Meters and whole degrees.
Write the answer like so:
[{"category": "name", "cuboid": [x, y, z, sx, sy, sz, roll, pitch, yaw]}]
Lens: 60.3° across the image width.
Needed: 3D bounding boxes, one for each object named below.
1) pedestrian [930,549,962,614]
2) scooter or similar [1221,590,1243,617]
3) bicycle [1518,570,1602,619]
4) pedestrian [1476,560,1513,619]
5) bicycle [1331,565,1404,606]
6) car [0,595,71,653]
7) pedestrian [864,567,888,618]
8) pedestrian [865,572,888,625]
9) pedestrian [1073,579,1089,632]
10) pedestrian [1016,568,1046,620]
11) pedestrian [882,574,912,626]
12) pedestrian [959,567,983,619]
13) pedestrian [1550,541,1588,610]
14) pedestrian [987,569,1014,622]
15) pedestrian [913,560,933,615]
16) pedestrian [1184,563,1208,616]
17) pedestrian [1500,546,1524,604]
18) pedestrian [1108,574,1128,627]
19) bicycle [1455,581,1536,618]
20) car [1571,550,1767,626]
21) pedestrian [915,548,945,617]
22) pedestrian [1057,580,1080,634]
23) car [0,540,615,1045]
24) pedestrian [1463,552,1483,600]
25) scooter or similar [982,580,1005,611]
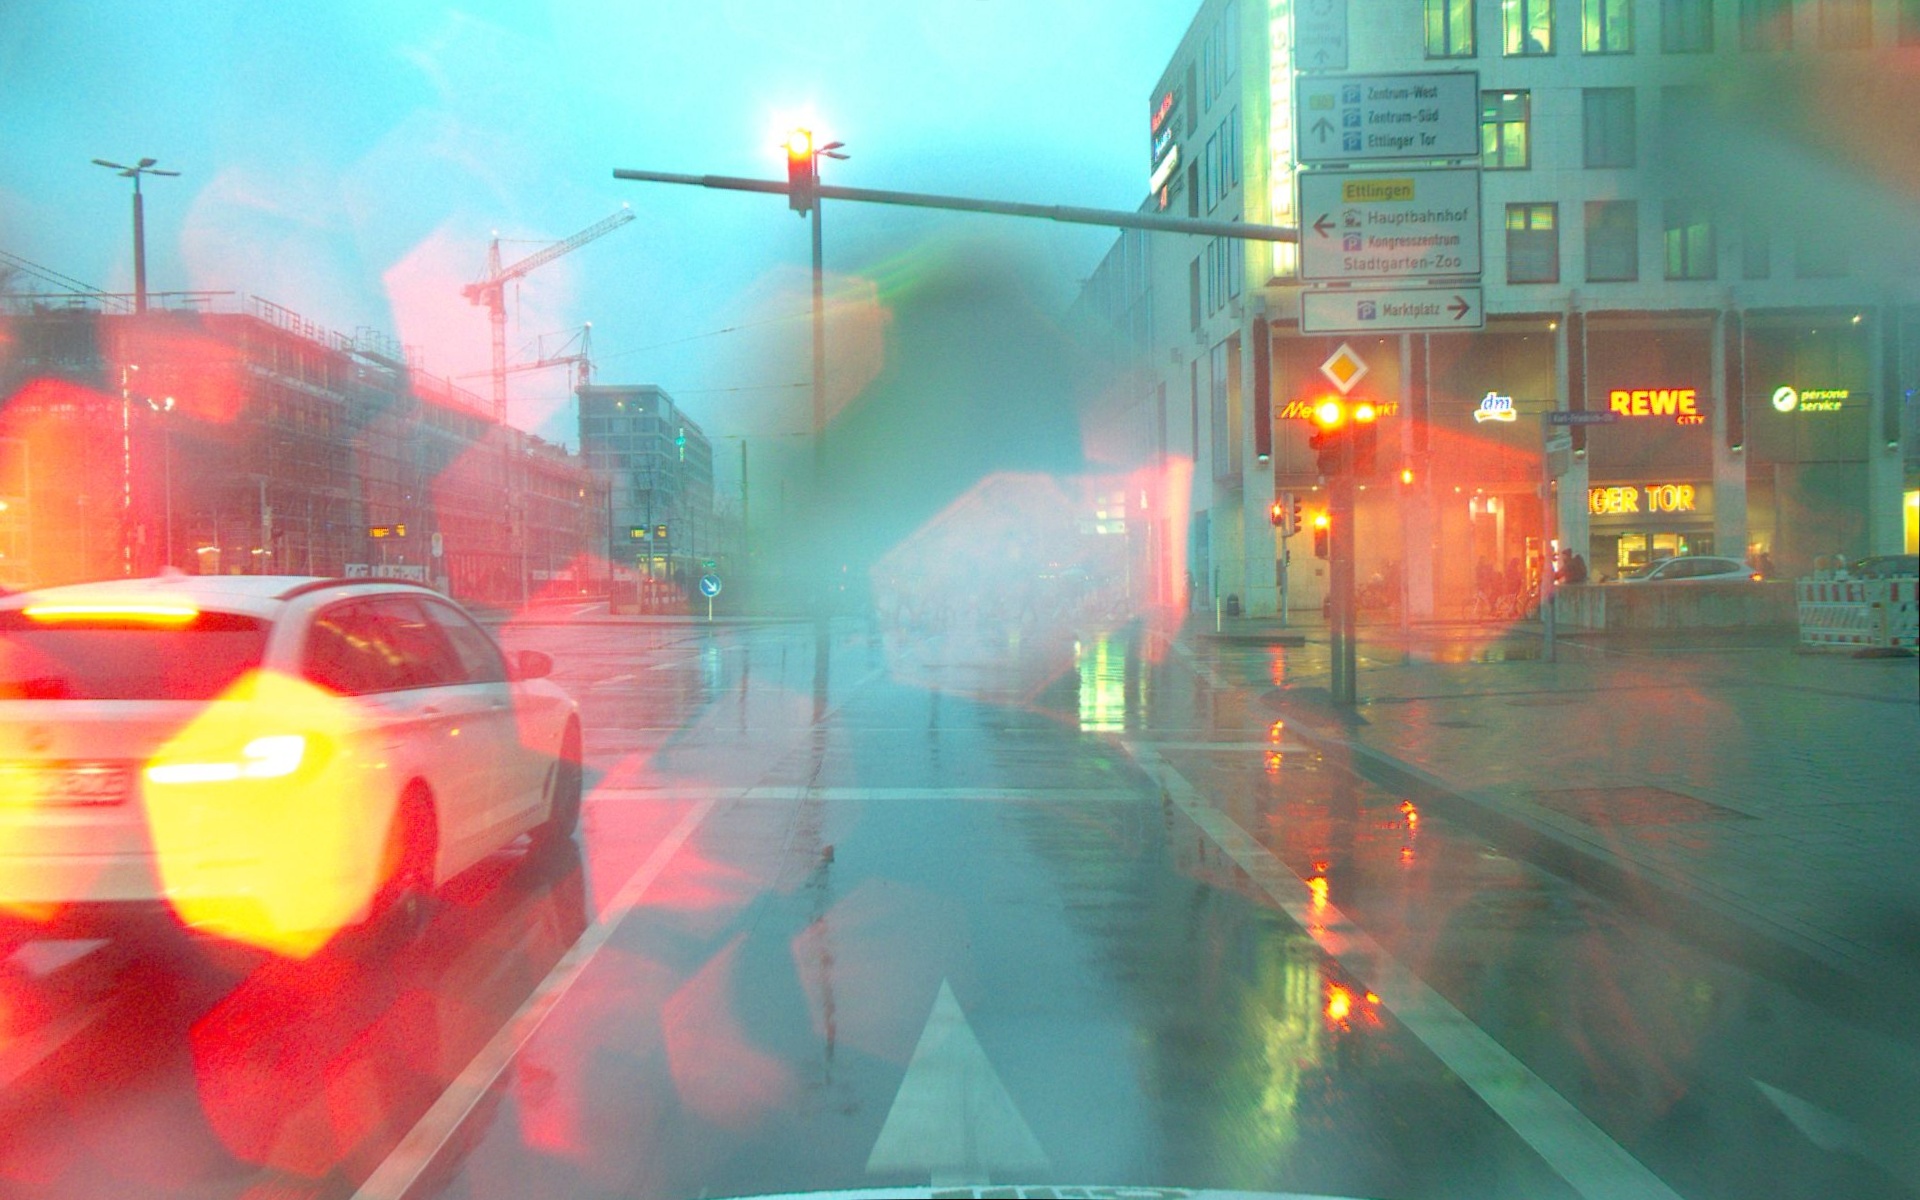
[{"category": "pedestrian", "cuboid": [-0.435, -0.590, 52.350, 0.770, 2.049, 0.605, -1, 0, -38]}, {"category": "scooter or similar", "cuboid": [9.676, 0.132, 58.868, 0.725, 0.932, 0.400, -1, 0, 1]}, {"category": "bicycle", "cuboid": [14.223, -0.130, 39.266, 1.806, 1.112, 0.618, -1, 0, 15]}, {"category": "pedestrian", "cuboid": [14.767, -0.291, 45.717, 0.798, 1.597, 0.536, -1, 0, -3]}, {"category": "bicycle", "cuboid": [14.152, -0.511, 57.482, 2.378, 1.352, 0.634, -1, 1, -5]}, {"category": "car", "cuboid": [-35.015, 0.869, 62.539, 1.729, 2.049, 3.979, -1, 1, -18]}, {"category": "pedestrian", "cuboid": [-2.732, -0.245, 54.048, 0.692, 1.647, 0.680, -1, 0, 1]}, {"category": "pedestrian", "cuboid": [-2.650, -0.046, 52.537, 0.692, 1.647, 0.613, -1, 0, -2]}, {"category": "pedestrian", "cuboid": [4.180, 0.189, 57.304, 0.501, 1.791, 0.374, -1, 0, 0]}, {"category": "pedestrian", "cuboid": [2.356, -0.204, 54.883, 0.827, 1.717, 0.675, -1, 0, -10]}, {"category": "pedestrian", "cuboid": [-2.013, -0.004, 52.905, 0.802, 1.647, 0.537, -1, 0, 38]}, {"category": "pedestrian", "cuboid": [0.381, -0.239, 55.408, 0.725, 1.696, 0.401, -1, 0, 6]}, {"category": "pedestrian", "cuboid": [14.426, -0.579, 39.194, 0.764, 1.623, 0.613, -1, 0, 15]}, {"category": "pedestrian", "cuboid": [1.318, -0.149, 53.905, 0.814, 1.708, 0.619, -1, 0, -5]}, {"category": "pedestrian", "cuboid": [-1.207, -0.420, 54.027, 0.607, 1.776, 0.612, -1, 0, -5]}, {"category": "pedestrian", "cuboid": [8.071, -0.355, 56.546, 0.688, 1.791, 0.652, -1, 0, 0]}, {"category": "pedestrian", "cuboid": [16.535, -0.737, 49.532, 0.526, 1.714, 0.547, -1, 0, 38]}, {"category": "pedestrian", "cuboid": [5.470, 0.013, 57.181, 0.605, 1.791, 0.482, -1, 0, 0]}, {"category": "bicycle", "cuboid": [14.800, -0.003, 45.719, 2.085, 1.008, 0.541, 0, 0, -3]}, {"category": "car", "cuboid": [17.877, -0.298, 41.835, 4.213, 1.792, 1.708, -1, 1, 3]}, {"category": "pedestrian", "cuboid": [-0.926, -0.554, 51.226, 0.681, 2.124, 0.604, -1, 0, -40]}, {"category": "pedestrian", "cuboid": [3.670, 0.239, 55.836, 0.688, 1.791, 0.667, -1, 0, 0]}, {"category": "car", "cuboid": [-3.004, 0.577, 7.584, 1.871, 1.547, 4.923, -1, 1, -1]}, {"category": "pedestrian", "cuboid": [18.798, -0.893, 60.567, 0.526, 1.747, 0.500, -1, 0, 38]}, {"category": "scooter or similar", "cuboid": [1.111, -0.161, 55.334, 0.725, 1.010, 0.401, -1, 0, 6]}]
